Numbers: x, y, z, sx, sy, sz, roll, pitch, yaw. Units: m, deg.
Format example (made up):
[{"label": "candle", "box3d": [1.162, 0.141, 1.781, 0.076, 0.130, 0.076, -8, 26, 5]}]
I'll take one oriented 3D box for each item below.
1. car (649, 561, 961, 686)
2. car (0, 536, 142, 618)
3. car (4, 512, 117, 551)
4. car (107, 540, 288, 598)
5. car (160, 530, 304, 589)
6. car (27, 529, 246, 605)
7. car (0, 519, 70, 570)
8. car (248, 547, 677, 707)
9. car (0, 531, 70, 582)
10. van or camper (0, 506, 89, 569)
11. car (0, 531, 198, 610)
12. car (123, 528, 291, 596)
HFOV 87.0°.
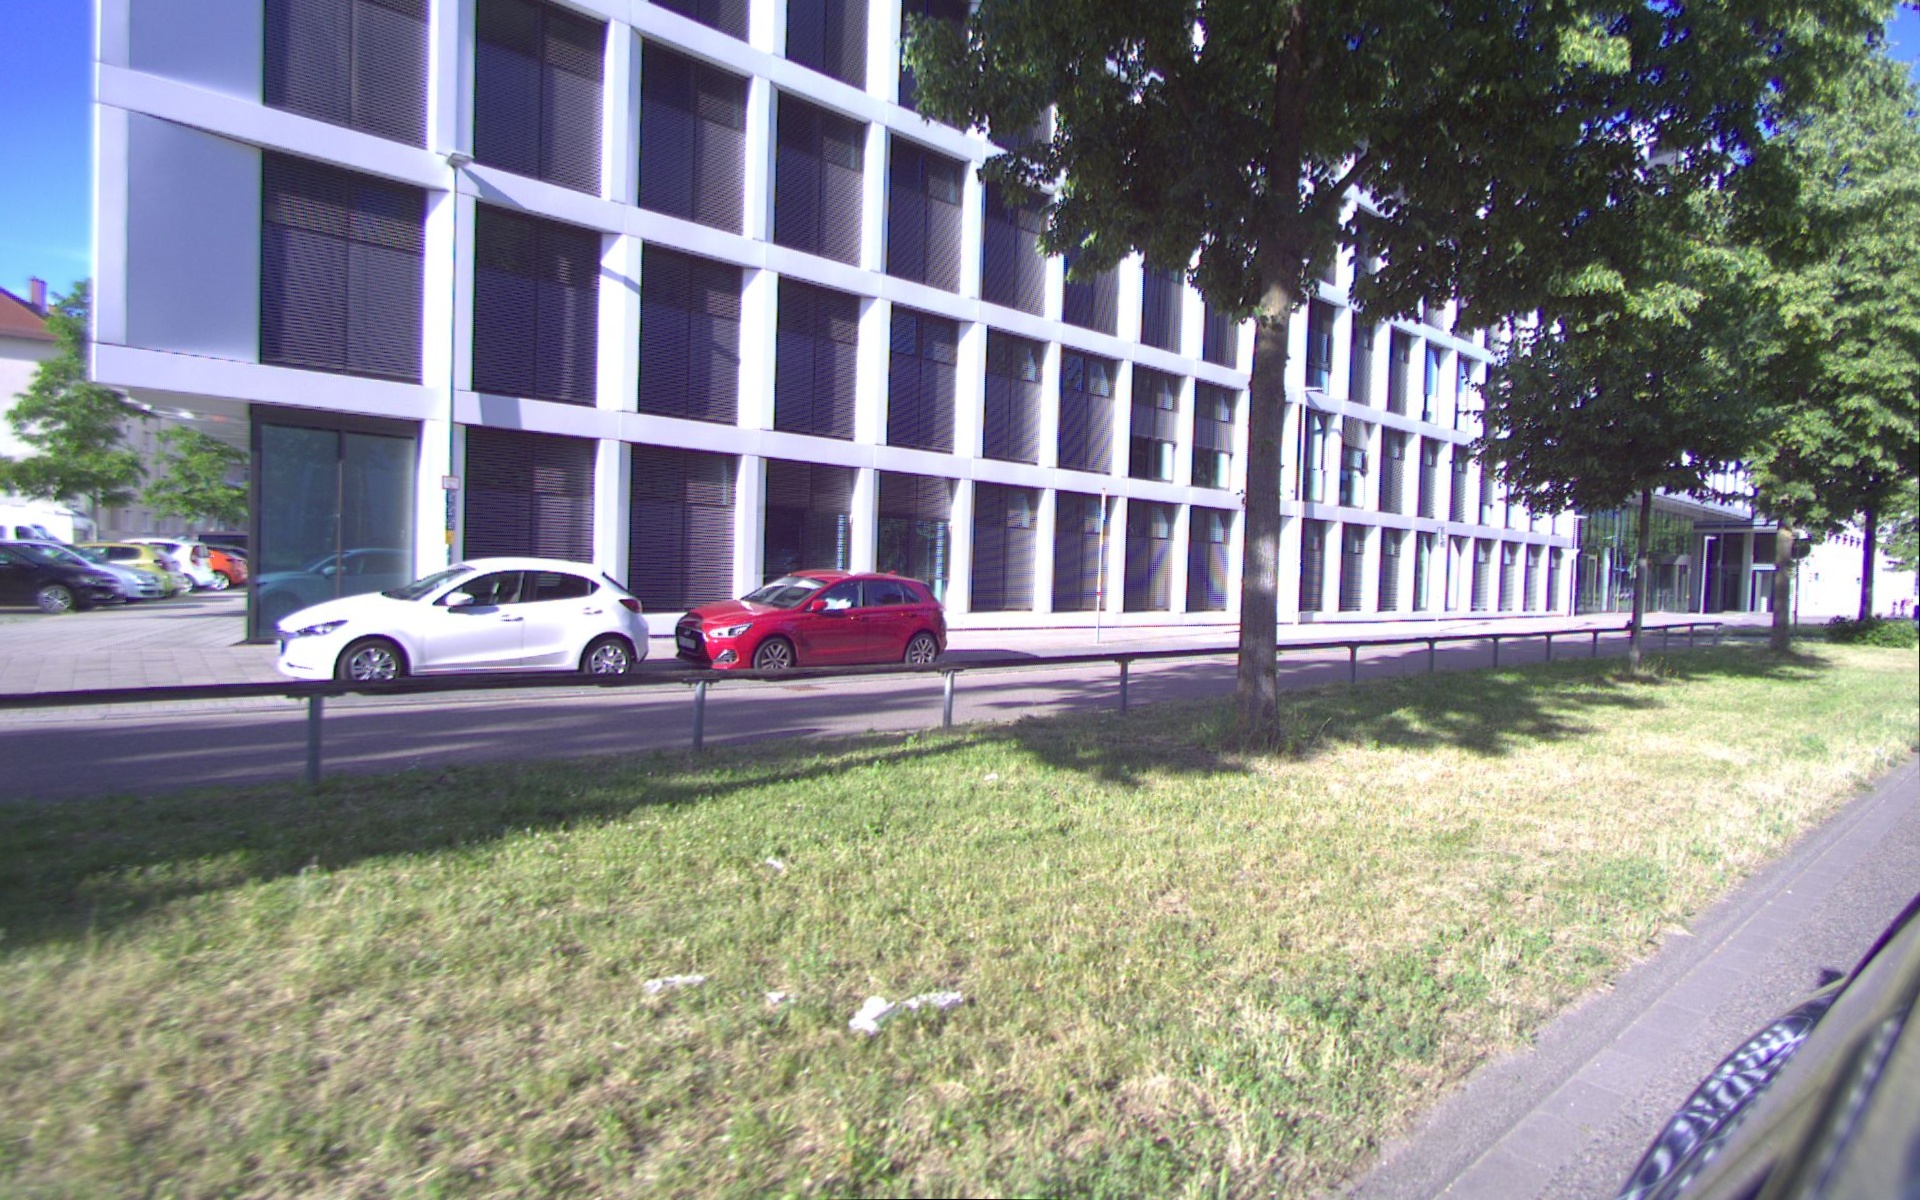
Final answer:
[{"label": "car", "box3d": [-2.211, 0.264, 15.039, 4.197, 1.503, 1.870, 0, 5, -40]}, {"label": "car", "box3d": [-19.251, -0.459, 20.394, 3.917, 1.594, 2.004, 0, 1, -24]}, {"label": "car", "box3d": [-46.535, -3.527, 52.461, 3.917, 1.838, 2.004, 0, 1, -23]}, {"label": "car", "box3d": [-22.467, -0.878, 30.020, 3.917, 1.616, 2.004, 0, 1, -25]}, {"label": "car", "box3d": [-26.297, -1.413, 36.730, 3.917, 2.039, 2.004, 0, 0, -25]}, {"label": "car", "box3d": [-20.642, -0.798, 25.602, 3.917, 1.794, 2.004, 0, 1, -25]}, {"label": "car", "box3d": [-43.546, -2.535, 46.260, 3.917, 2.244, 2.003, 0, 0, -25]}, {"label": "car", "box3d": [-5.895, 0.221, 12.201, 4.321, 1.503, 2.000, 0, 5, -38]}, {"label": "car", "box3d": [-39.123, -1.755, 41.214, 3.917, 2.039, 2.003, 0, 1, -25]}, {"label": "van or camper", "box3d": [-45.603, -3.029, 49.240, 4.469, 2.956, 2.004, 0, 0, -25]}, {"label": "car", "box3d": [-20.207, -0.655, 23.292, 3.917, 1.705, 2.004, 0, 1, -25]}, {"label": "car", "box3d": [-23.794, -1.160, 32.168, 3.917, 2.039, 2.004, 0, 0, -25]}]
